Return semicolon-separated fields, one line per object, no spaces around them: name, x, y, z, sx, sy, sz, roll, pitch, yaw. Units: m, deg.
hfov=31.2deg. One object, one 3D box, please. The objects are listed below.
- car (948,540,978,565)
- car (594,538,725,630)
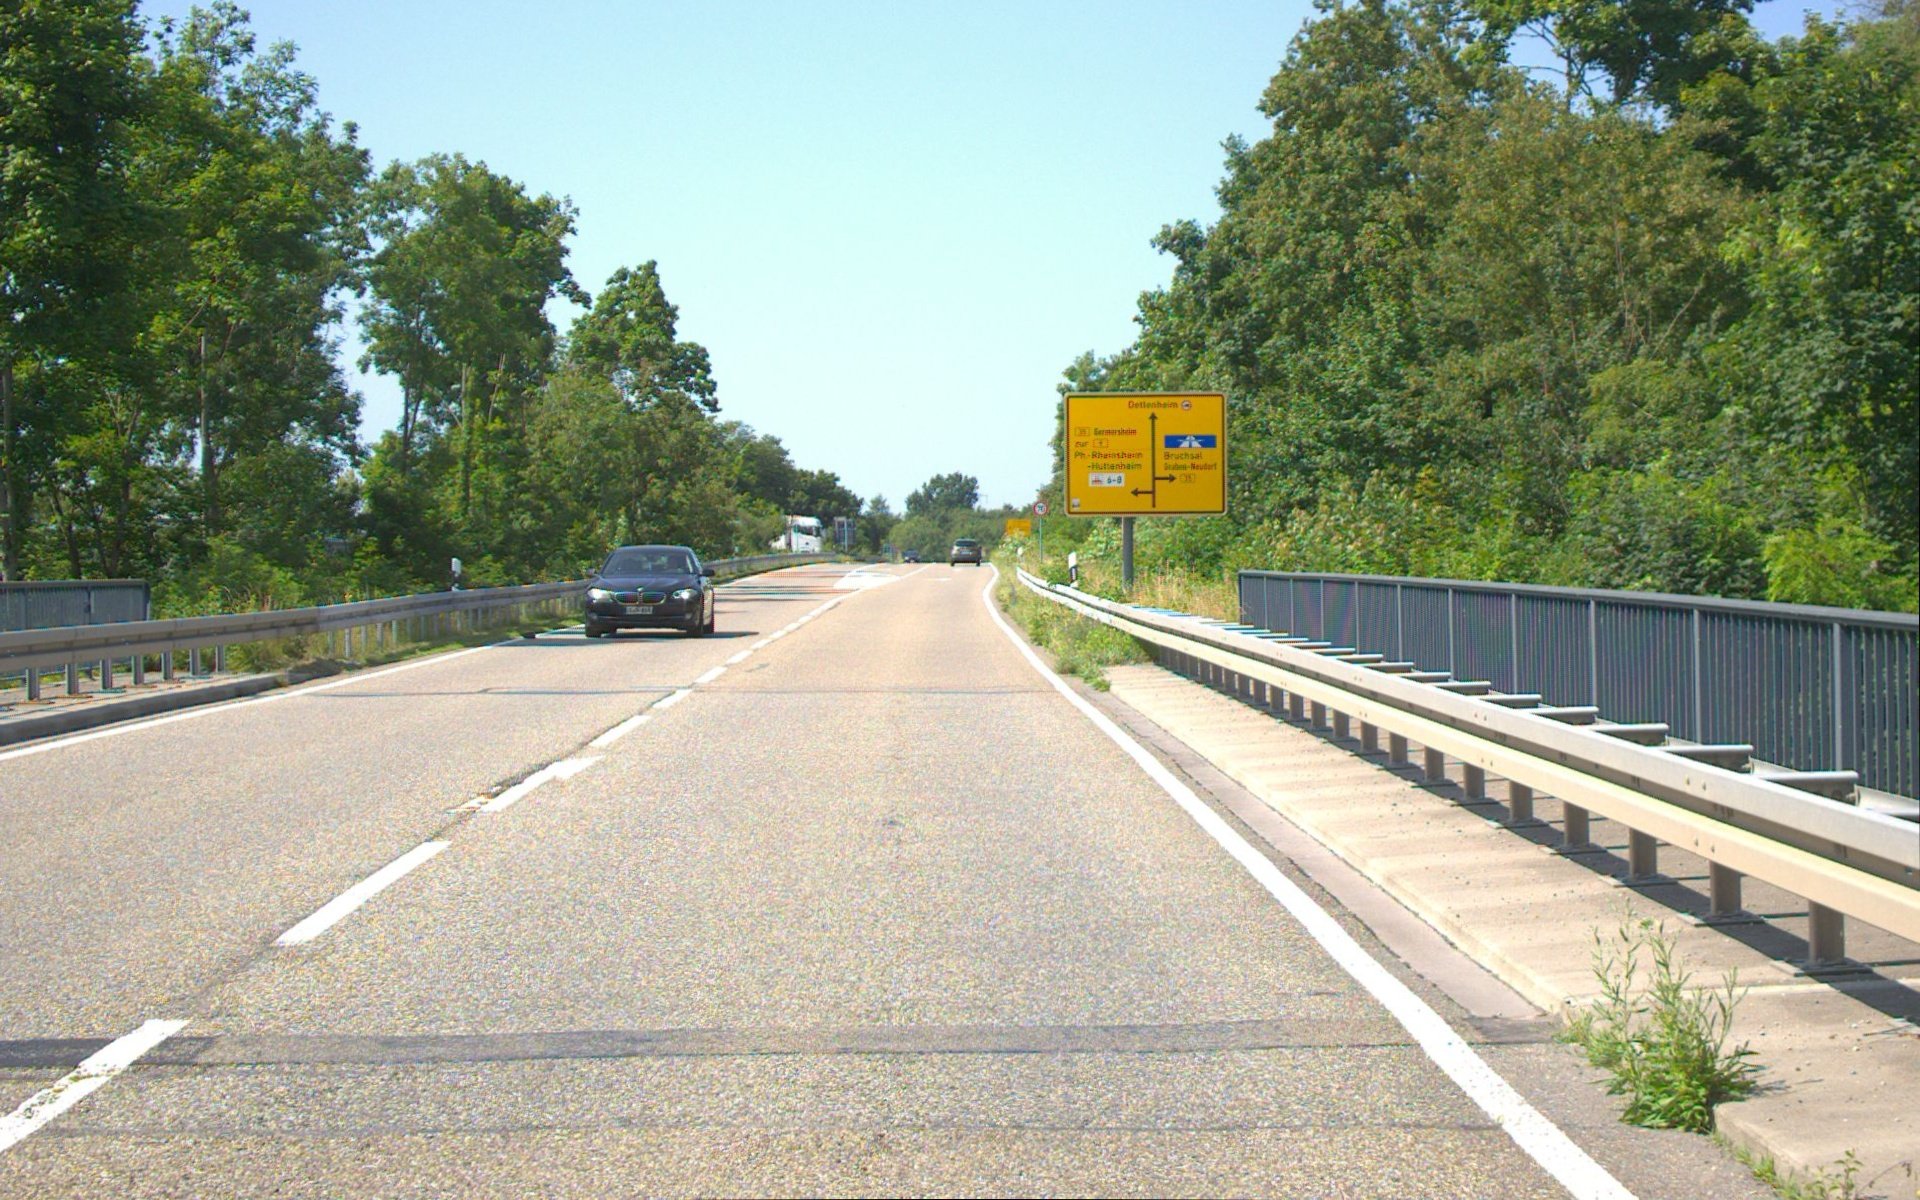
car;0.170;-2.791;201.967;1.741;1.465;3.693;0;1;0
car;-4.819;-0.284;55.602;1.746;1.420;4.677;0;1;0
